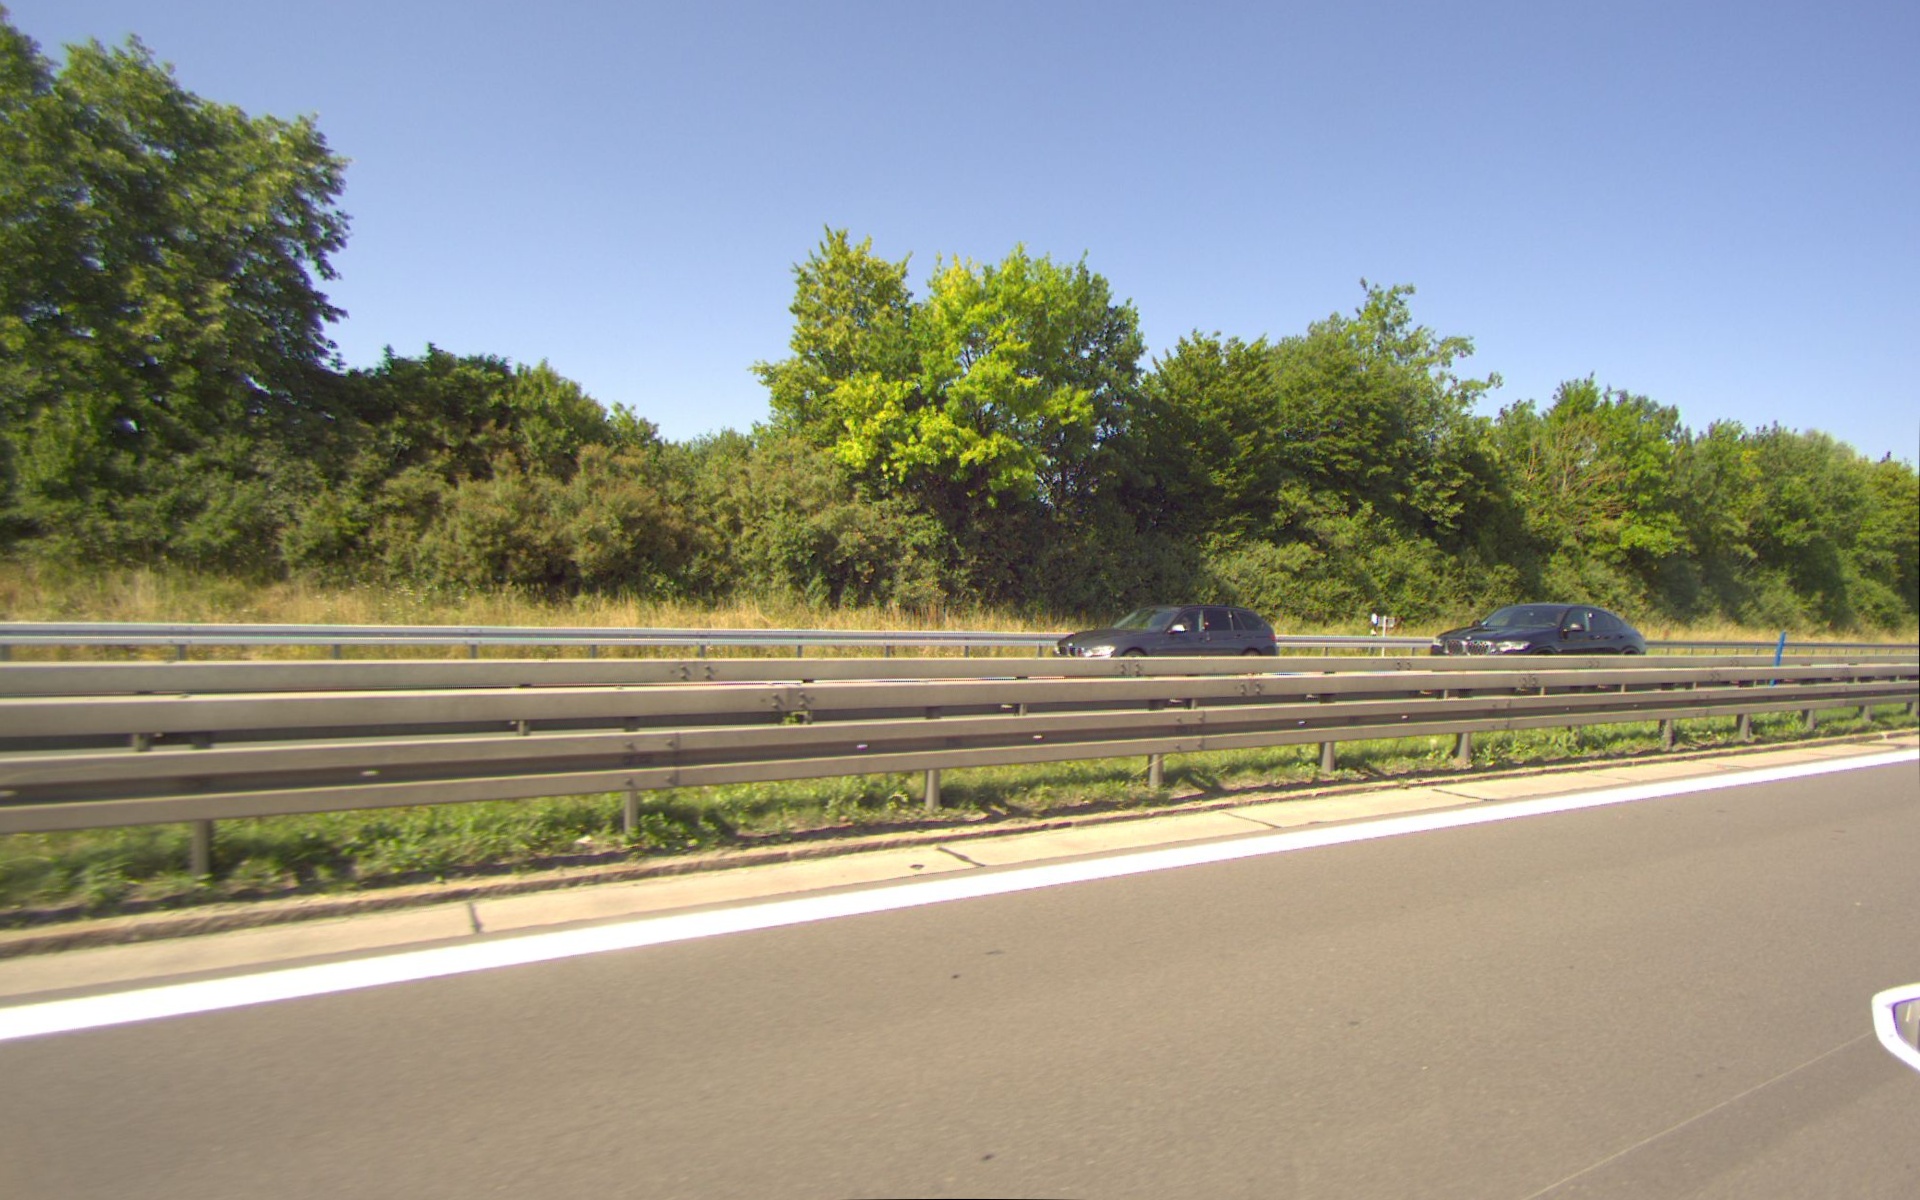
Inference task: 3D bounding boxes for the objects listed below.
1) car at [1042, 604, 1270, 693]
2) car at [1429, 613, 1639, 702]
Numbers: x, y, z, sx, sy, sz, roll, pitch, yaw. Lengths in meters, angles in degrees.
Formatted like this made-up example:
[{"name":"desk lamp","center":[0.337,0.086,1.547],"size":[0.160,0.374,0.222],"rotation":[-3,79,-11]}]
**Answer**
[{"name":"car","center":[3.589,0.852,18.238],"size":[3.954,1.441,1.654],"rotation":[2,0,-31]},{"name":"car","center":[10.677,1.029,18.630],"size":[3.954,1.441,1.654],"rotation":[2,0,-31]}]
